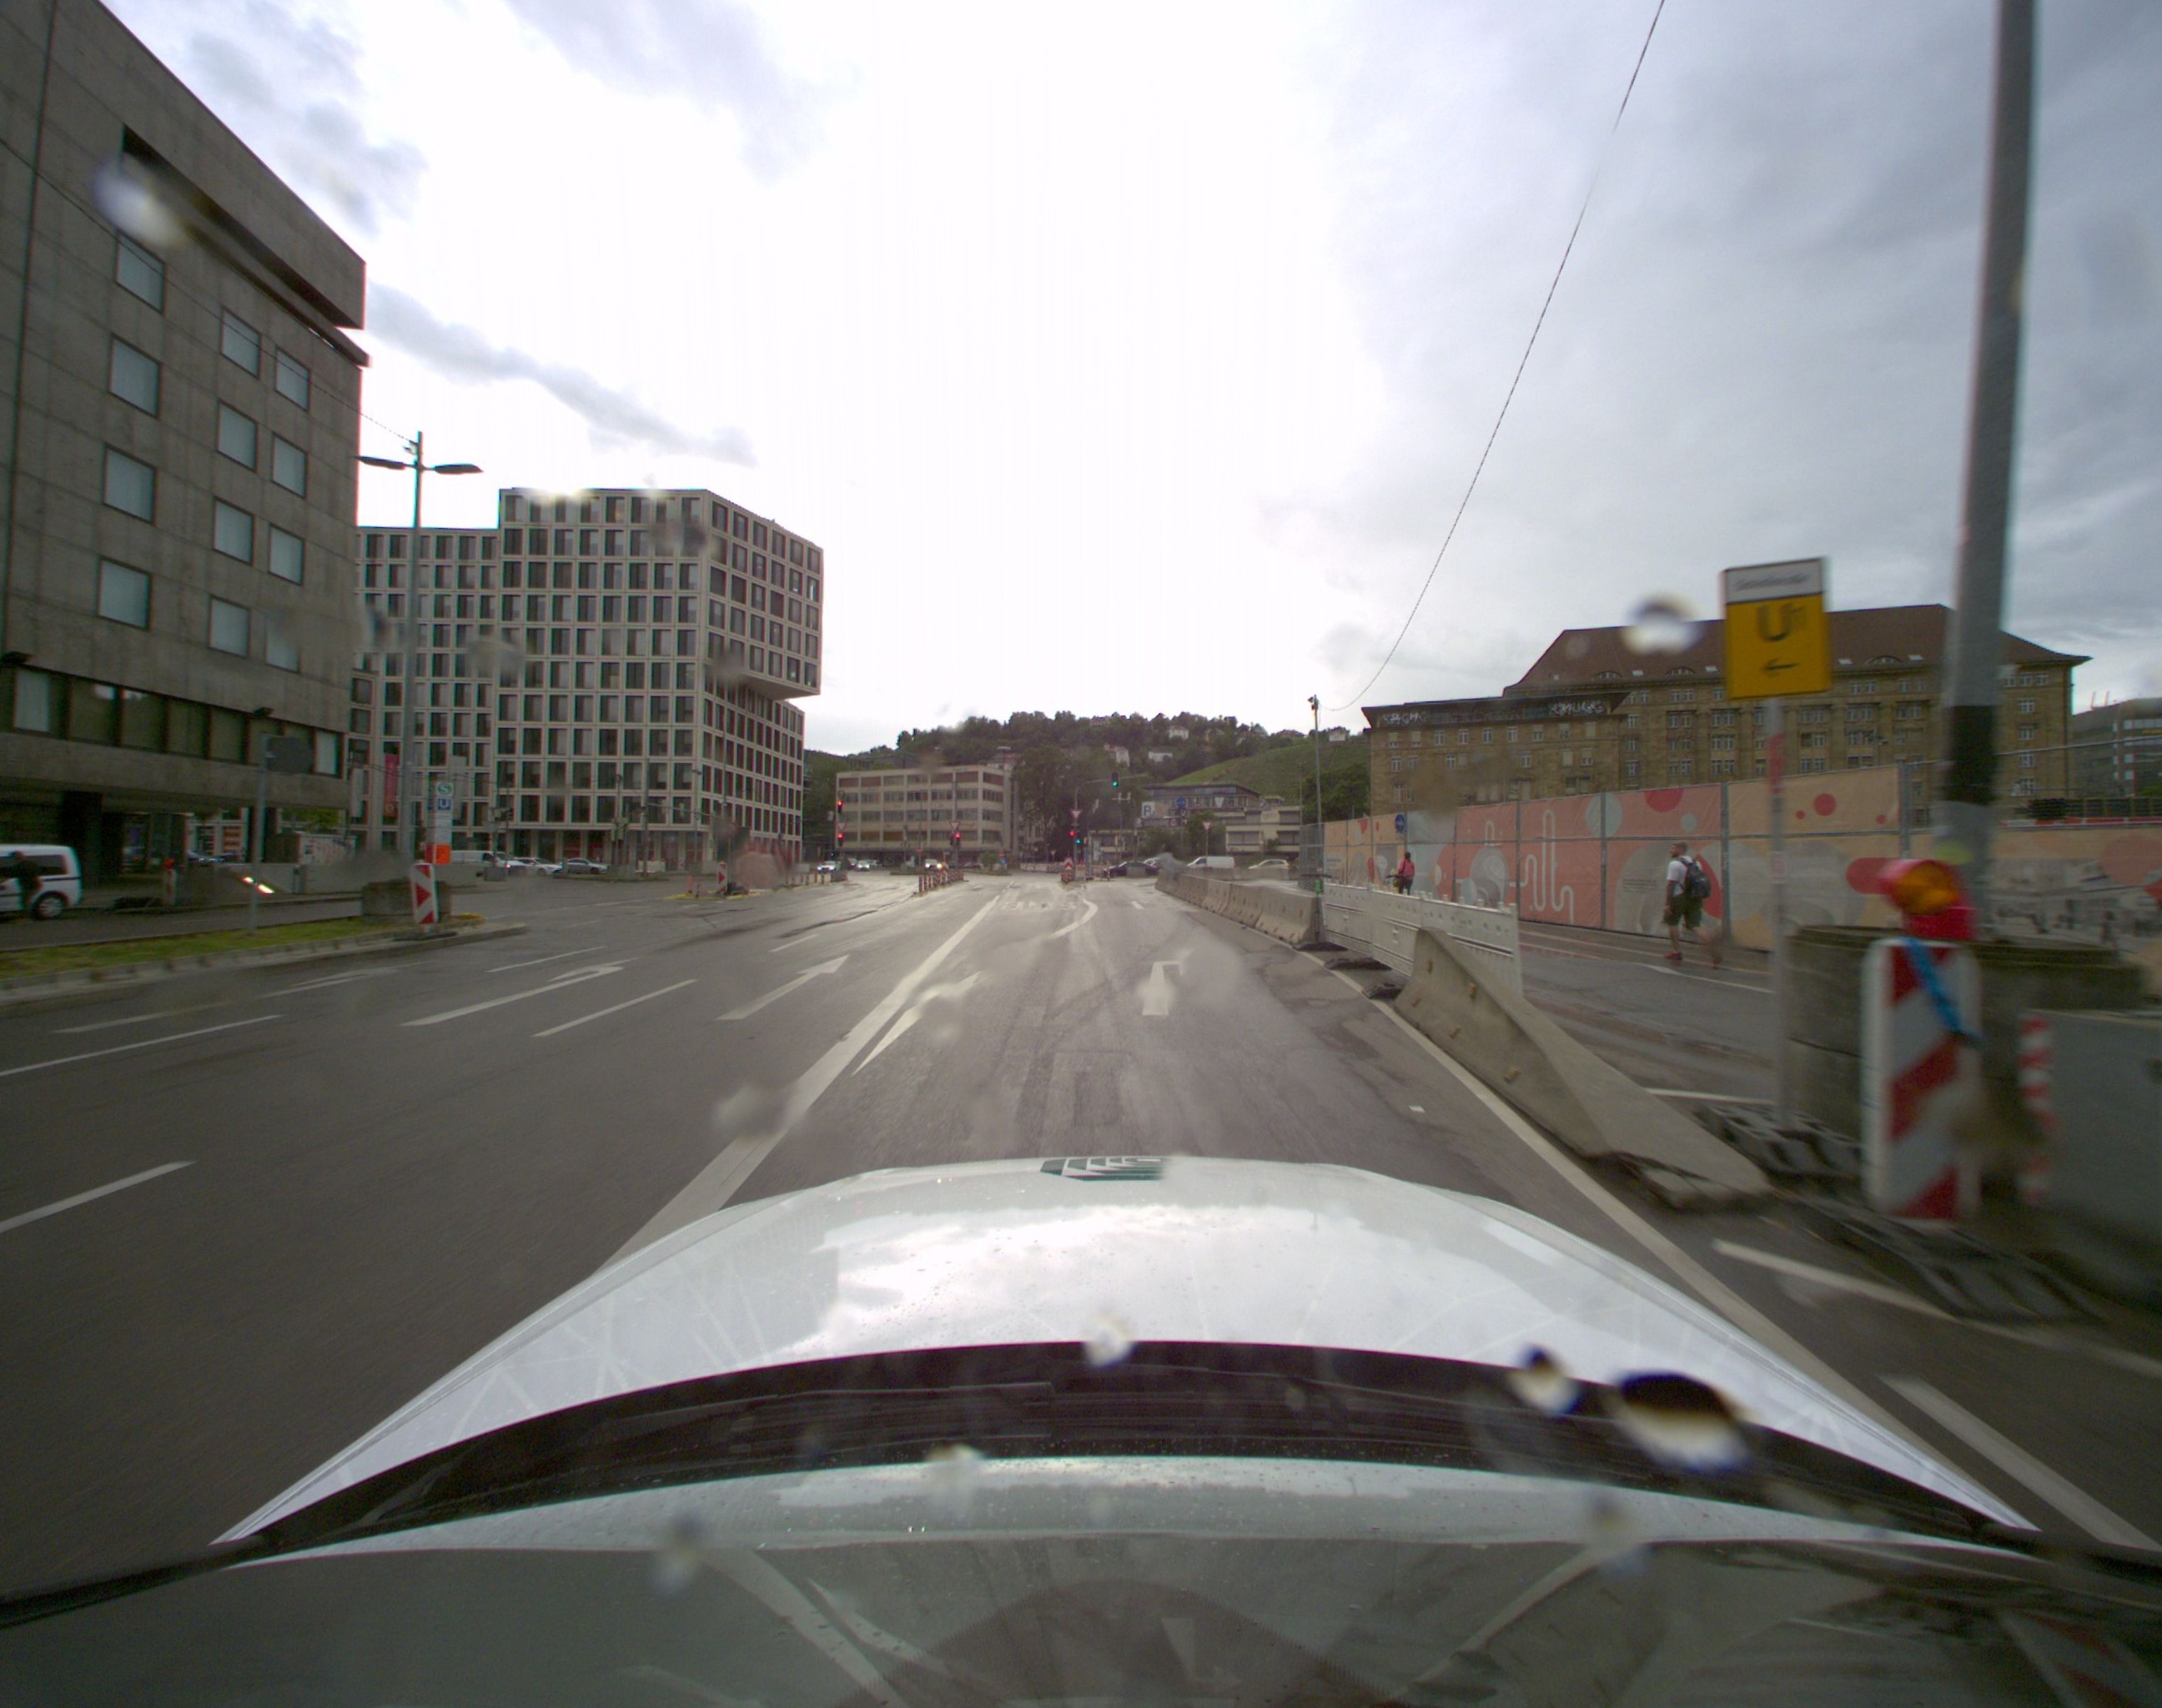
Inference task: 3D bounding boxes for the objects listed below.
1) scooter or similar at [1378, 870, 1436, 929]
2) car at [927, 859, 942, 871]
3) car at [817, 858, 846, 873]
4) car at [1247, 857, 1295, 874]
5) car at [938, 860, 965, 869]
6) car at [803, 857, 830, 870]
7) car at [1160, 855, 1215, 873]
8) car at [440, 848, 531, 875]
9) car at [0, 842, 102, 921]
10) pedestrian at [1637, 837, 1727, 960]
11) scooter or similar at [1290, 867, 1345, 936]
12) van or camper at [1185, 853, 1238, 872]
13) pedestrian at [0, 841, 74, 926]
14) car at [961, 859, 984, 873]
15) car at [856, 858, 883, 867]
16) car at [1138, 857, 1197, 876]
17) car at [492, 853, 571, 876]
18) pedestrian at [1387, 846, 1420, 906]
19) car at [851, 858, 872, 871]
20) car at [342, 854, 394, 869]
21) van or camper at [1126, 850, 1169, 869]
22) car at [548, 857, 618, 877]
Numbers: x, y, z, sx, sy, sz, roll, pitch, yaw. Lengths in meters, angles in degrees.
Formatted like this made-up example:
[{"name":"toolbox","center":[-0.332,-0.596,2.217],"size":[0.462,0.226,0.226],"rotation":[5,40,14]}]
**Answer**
[{"name":"scooter or similar","center":[6.939,0.944,17.392],"size":[0.467,1.183,1.409],"rotation":[0,0,-11]},{"name":"car","center":[-18.870,1.355,104.703],"size":[1.831,1.486,3.985],"rotation":[0,0,-11]},{"name":"car","center":[-29.501,1.318,96.405],"size":[2.217,1.753,4.807],"rotation":[0,-1,-3]},{"name":"car","center":[18.933,1.181,81.218],"size":[4.350,1.673,1.848],"rotation":[0,0,1]},{"name":"car","center":[-20.697,1.653,130.089],"size":[4.025,1.492,1.747],"rotation":[0,0,34]},{"name":"car","center":[-38.686,1.382,118.936],"size":[3.948,1.816,1.817],"rotation":[0,0,37]},{"name":"car","center":[9.527,0.913,73.102],"size":[4.639,1.598,2.015],"rotation":[0,0,-4]},{"name":"car","center":[-42.741,0.533,58.502],"size":[5.045,1.904,2.090],"rotation":[0,0,4]},{"name":"car","center":[-25.111,0.614,18.044],"size":[1.772,1.762,4.363],"rotation":[0,0,-6]},{"name":"pedestrian","center":[9.530,0.681,12.951],"size":[0.701,1.866,0.989],"rotation":[0,0,-2]},{"name":"scooter or similar","center":[4.506,0.876,15.588],"size":[0.672,1.214,1.573],"rotation":[0,0,3]},{"name":"van or camper","center":[13.508,0.894,84.258],"size":[5.185,1.894,1.885],"rotation":[0,0,-4]},{"name":"pedestrian","center":[-23.842,0.658,18.598],"size":[0.690,1.886,0.794],"rotation":[0,0,-7]},{"name":"car","center":[-16.162,1.825,121.014],"size":[2.006,2.013,3.962],"rotation":[1,0,-30]},{"name":"car","center":[-35.524,1.393,136.690],"size":[4.029,1.492,1.745],"rotation":[0,0,22]},{"name":"car","center":[7.305,1.040,68.928],"size":[4.655,1.598,2.008],"rotation":[0,0,-15]},{"name":"car","center":[-41.682,0.798,61.851],"size":[4.631,1.738,2.019],"rotation":[0,0,1]},{"name":"pedestrian","center":[10.171,0.687,25.699],"size":[0.718,1.866,0.708],"rotation":[0,0,-4]},{"name":"car","center":[-30.807,1.442,114.395],"size":[1.811,1.816,3.961],"rotation":[0,0,-31]},{"name":"car","center":[-73.852,0.813,84.358],"size":[3.966,1.523,1.871],"rotation":[0,-1,6]},{"name":"van or camper","center":[6.883,0.563,84.330],"size":[4.234,1.979,1.848],"rotation":[0,0,-4]},{"name":"car","center":[-41.528,1.056,67.972],"size":[4.624,1.598,2.022],"rotation":[0,0,6]}]
